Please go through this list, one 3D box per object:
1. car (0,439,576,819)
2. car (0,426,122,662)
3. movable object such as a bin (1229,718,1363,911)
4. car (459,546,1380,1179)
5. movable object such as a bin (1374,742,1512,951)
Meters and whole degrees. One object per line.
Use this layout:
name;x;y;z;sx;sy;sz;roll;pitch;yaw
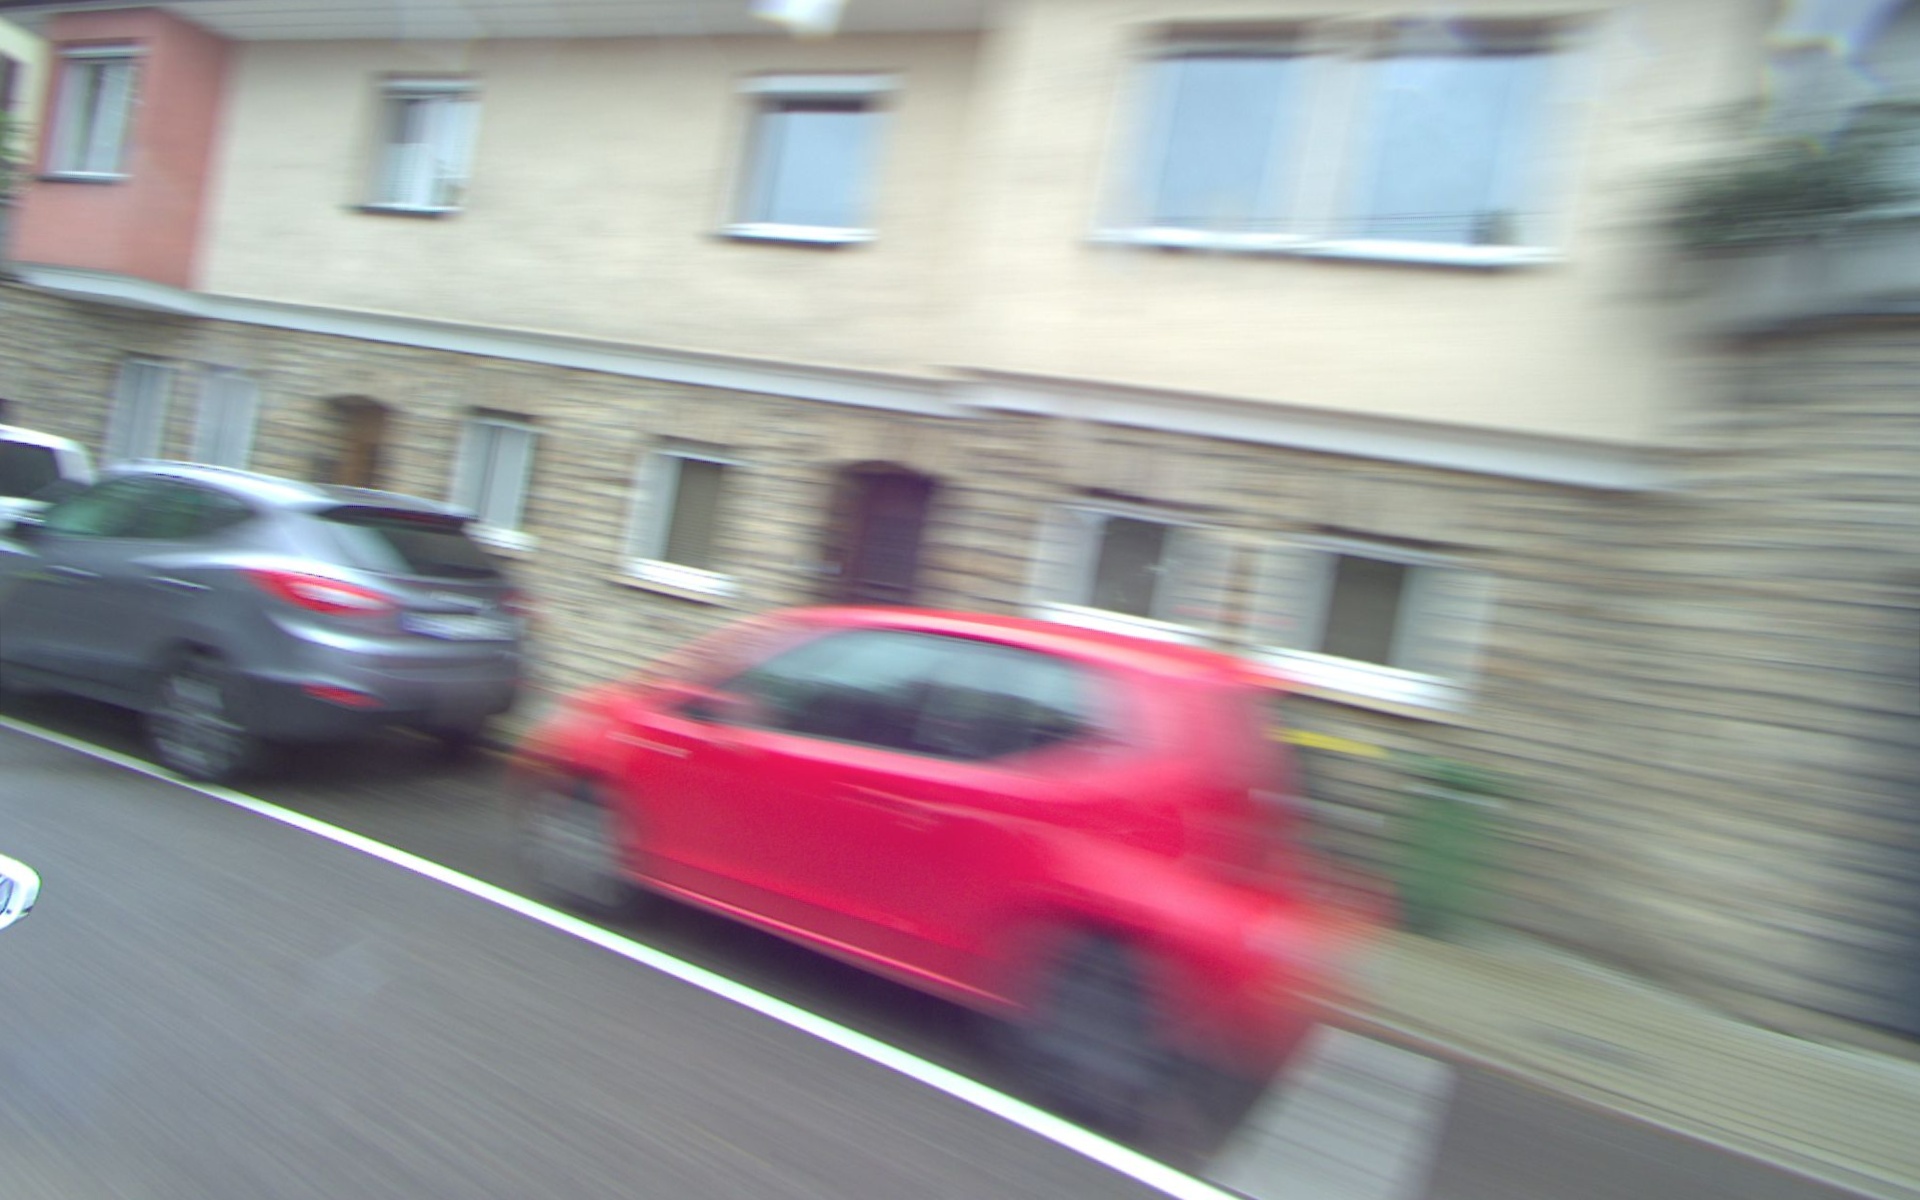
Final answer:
car;-4.822;0.006;6.435;4.330;1.624;1.620;9;0;22
car;-9.378;-0.712;8.214;4.244;1.815;1.709;8;3;15
movable object such as a bin;1.955;1.211;5.838;0.499;0.936;0.587;9;4;32
car;-0.264;0.724;4.332;3.520;1.453;1.617;7;1;30
movable object such as a bin;2.660;1.318;5.525;0.506;0.936;0.595;9;4;32
